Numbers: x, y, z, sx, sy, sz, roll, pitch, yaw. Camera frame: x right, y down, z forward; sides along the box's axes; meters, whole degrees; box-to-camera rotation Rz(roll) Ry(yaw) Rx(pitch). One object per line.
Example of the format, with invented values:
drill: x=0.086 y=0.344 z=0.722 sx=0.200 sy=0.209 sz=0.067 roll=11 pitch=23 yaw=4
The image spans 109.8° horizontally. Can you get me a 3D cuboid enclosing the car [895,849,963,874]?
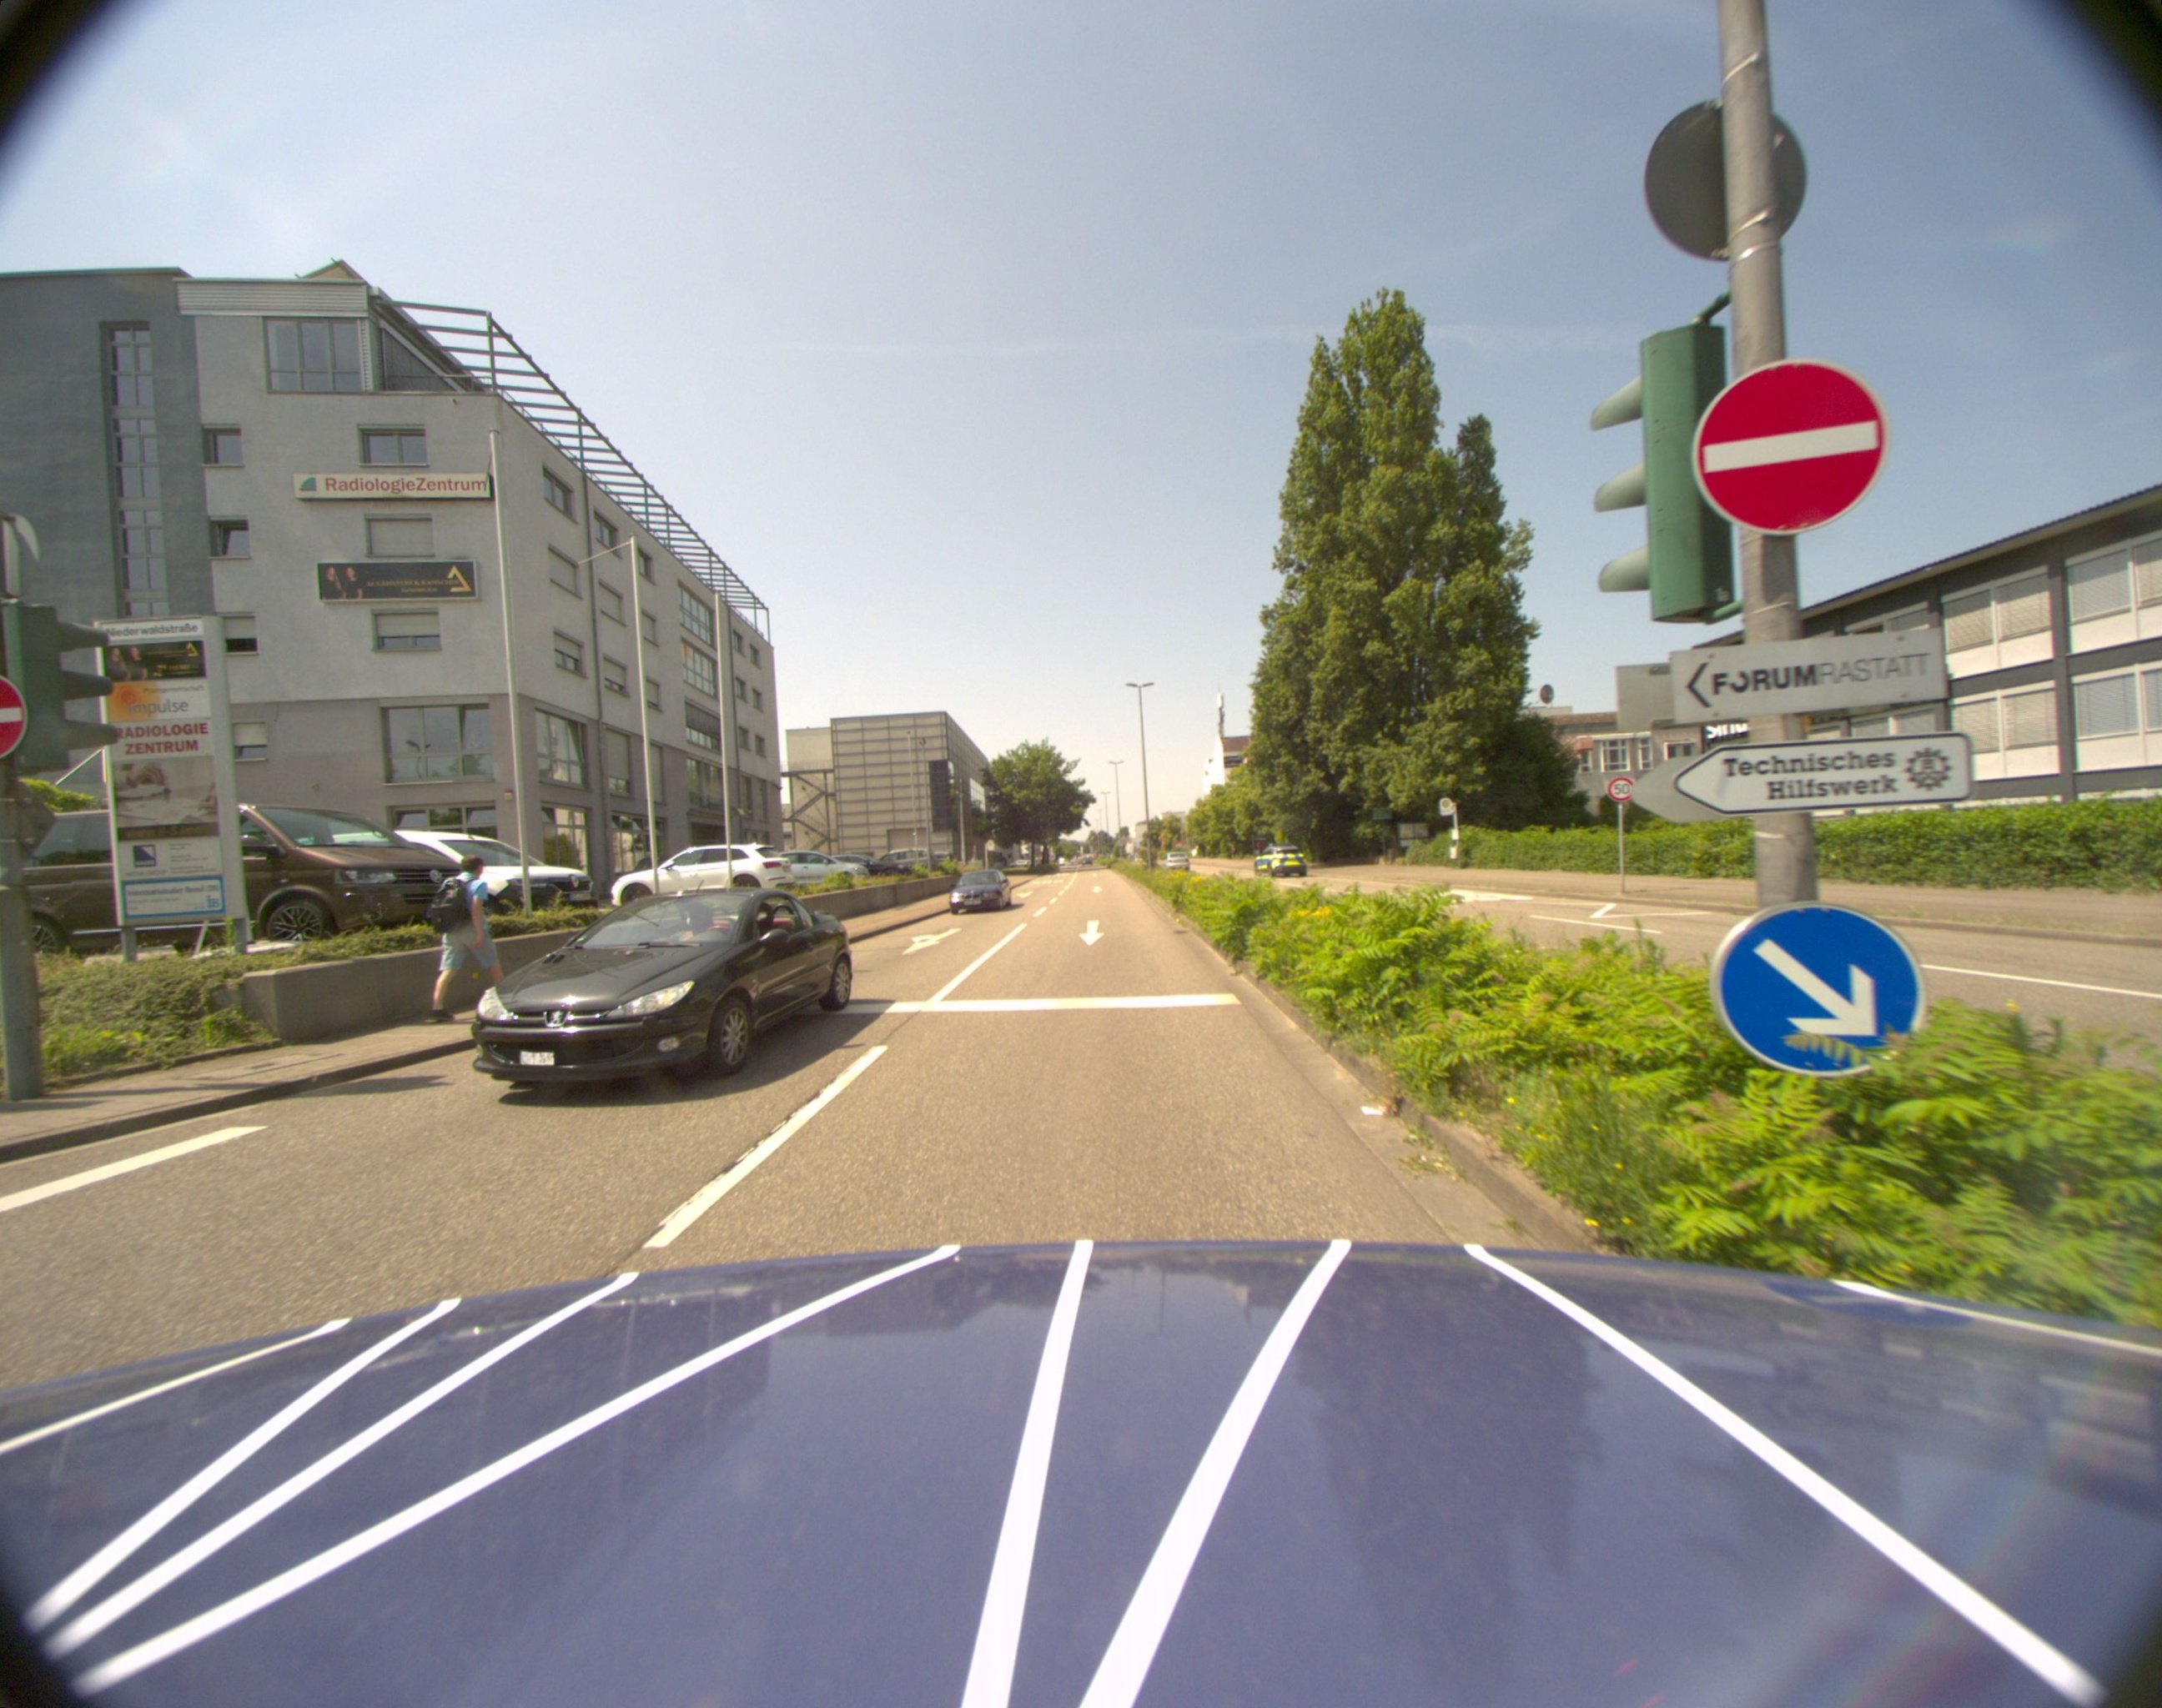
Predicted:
car: x=-10.143 y=0.473 z=50.805 sx=4.137 sy=1.477 sz=1.758 roll=-3 pitch=1 yaw=0

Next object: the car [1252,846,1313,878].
car: x=10.470 y=0.376 z=39.817 sx=1.899 sy=1.551 sz=4.285 roll=-2 pitch=1 yaw=-2

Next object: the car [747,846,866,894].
car: x=-10.367 y=0.583 z=28.982 sx=4.001 sy=1.477 sz=1.756 roll=-5 pitch=1 yaw=-13

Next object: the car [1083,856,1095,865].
car: x=1.396 y=1.026 z=127.650 sx=1.867 sy=1.390 sz=4.000 roll=-2 pitch=0 yaw=2

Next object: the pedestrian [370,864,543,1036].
pedestrian: x=-6.551 y=0.964 z=8.046 sx=0.830 sy=1.616 sz=1.005 roll=-4 pitch=2 yaw=1

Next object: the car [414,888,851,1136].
car: x=-3.369 y=1.083 z=6.567 sx=1.641 sy=1.349 sz=3.499 roll=-2 pitch=0 yaw=0

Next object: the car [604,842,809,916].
car: x=-10.175 y=0.637 z=20.953 sx=4.476 sy=1.601 sz=2.096 roll=-4 pitch=1 yaw=-3

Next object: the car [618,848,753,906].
car: x=-13.465 y=0.800 z=25.803 sx=4.512 sy=1.598 sz=1.917 roll=-4 pitch=1 yaw=32

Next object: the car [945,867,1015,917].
car: x=-3.334 y=1.216 z=25.784 sx=1.711 sy=1.316 sz=3.955 roll=-4 pitch=1 yaw=1

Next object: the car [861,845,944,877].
car: x=-10.005 y=0.385 z=42.745 sx=4.137 sy=1.477 sz=1.758 roll=-4 pitch=1 yaw=0

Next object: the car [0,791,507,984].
car: x=-10.599 y=0.409 z=9.699 sx=4.706 sy=1.787 sz=2.183 roll=-6 pitch=0 yaw=0

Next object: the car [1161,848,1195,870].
car: x=7.029 y=0.328 z=55.444 sx=1.764 sy=1.410 sz=4.090 roll=-3 pitch=1 yaw=-1

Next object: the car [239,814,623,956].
car: x=-10.423 y=0.448 z=12.468 sx=4.421 sy=1.690 sz=2.000 roll=-6 pitch=2 yaw=1

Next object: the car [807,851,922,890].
car: x=-10.020 y=0.732 z=35.437 sx=4.761 sy=1.373 sz=1.799 roll=-5 pitch=1 yaw=-4
